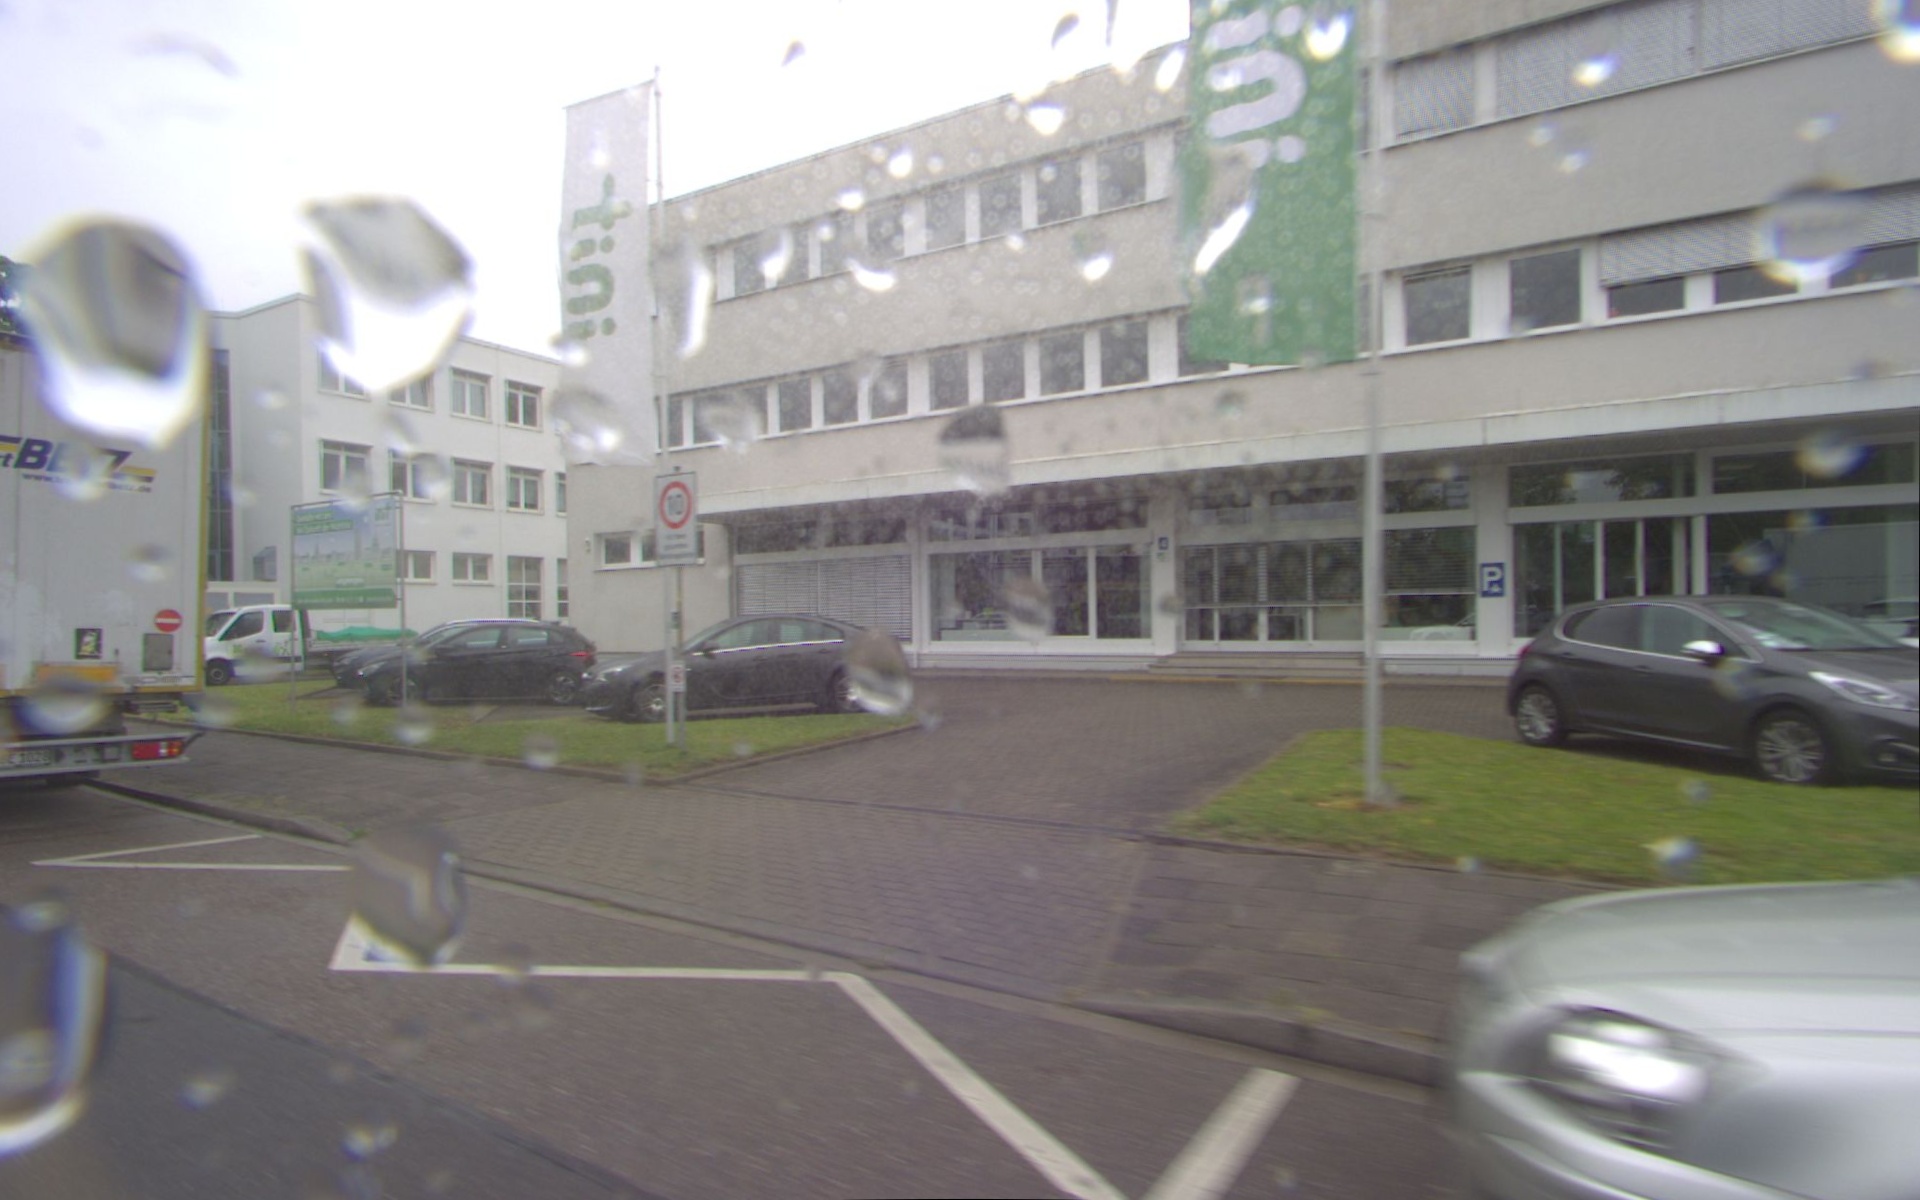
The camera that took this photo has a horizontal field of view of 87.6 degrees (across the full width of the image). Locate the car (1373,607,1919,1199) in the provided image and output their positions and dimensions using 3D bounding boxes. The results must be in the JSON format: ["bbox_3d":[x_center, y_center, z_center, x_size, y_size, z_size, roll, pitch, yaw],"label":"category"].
[{"bbox_3d":[3.022,0.724,1.446,4.281,1.460,1.795,-1,-1,31],"label":"car"}]

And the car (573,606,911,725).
[{"bbox_3d":[-3.183,0.872,14.654,4.598,1.487,1.786,-1,0,-22],"label":"car"}]

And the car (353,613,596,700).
[{"bbox_3d":[-8.605,1.025,18.100,3.716,1.414,1.723,3,-2,-19],"label":"car"}]

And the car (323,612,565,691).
[{"bbox_3d":[-10.163,1.002,20.071,4.079,1.435,1.686,1,1,-19],"label":"car"}]

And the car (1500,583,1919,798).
[{"bbox_3d":[6.727,0.618,8.566,1.675,1.411,3.765,-1,-1,-12],"label":"car"}]

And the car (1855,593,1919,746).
[{"bbox_3d":[9.305,0.557,7.236,1.675,1.303,3.996,-1,-1,-14],"label":"car"}]

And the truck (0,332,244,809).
[{"bbox_3d":[-10.401,-0.130,10.015,7.644,3.656,2.736,-1,-3,34],"label":"truck"}]

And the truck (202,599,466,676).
[{"bbox_3d":[-19.566,1.098,31.777,2.065,2.168,6.910,-1,-1,32],"label":"truck"}]
